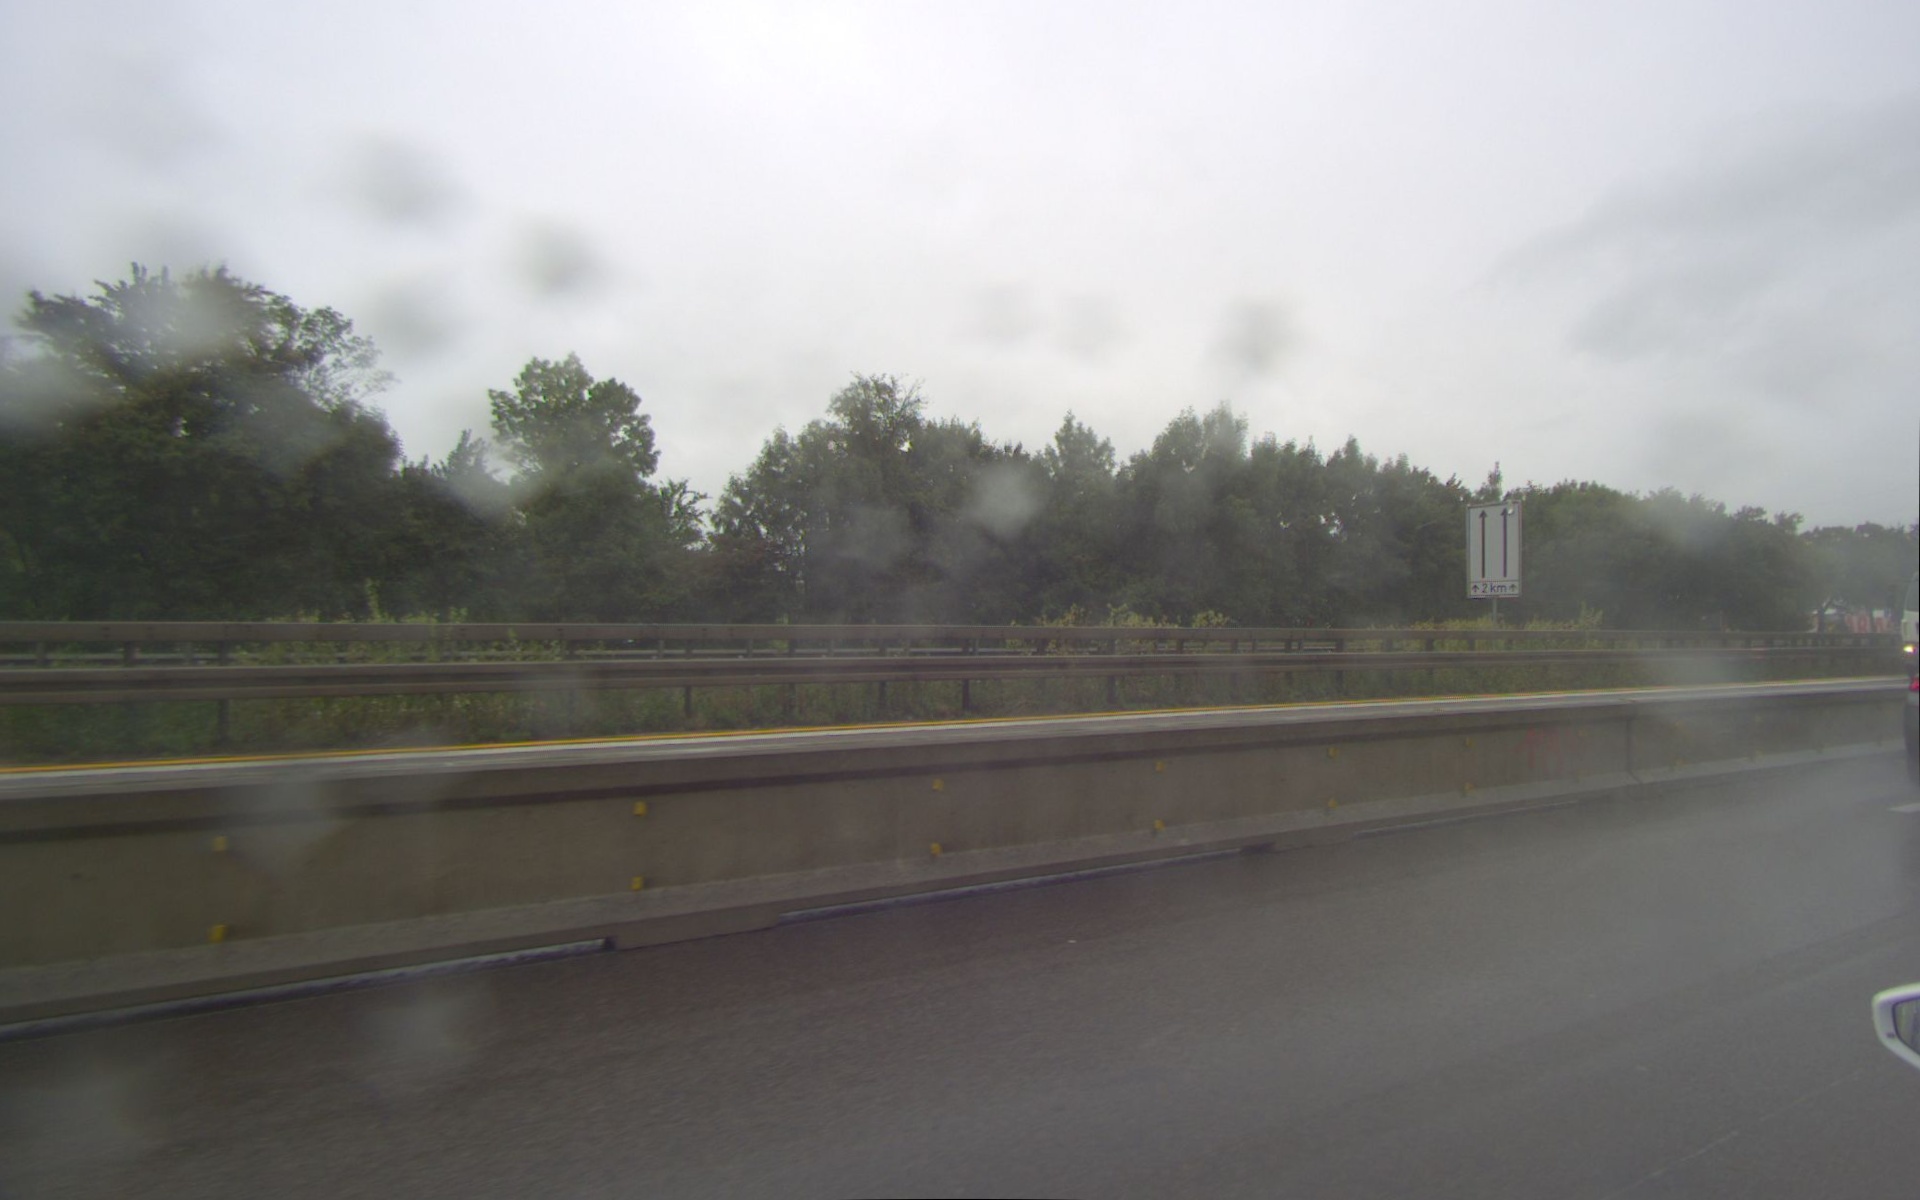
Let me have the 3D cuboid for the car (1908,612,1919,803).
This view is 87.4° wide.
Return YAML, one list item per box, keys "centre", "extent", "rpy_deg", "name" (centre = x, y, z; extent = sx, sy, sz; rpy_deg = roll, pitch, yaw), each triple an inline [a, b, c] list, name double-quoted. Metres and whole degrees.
- centre: [10.582, 0.956, 9.154]
  extent: [4.791, 1.619, 1.692]
  rpy_deg: [1, -1, -32]
  name: "car"

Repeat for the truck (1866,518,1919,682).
- centre: [29.179, 0.176, 28.031]
  extent: [9.716, 4.221, 2.991]
  rpy_deg: [2, -2, -30]
  name: "truck"
